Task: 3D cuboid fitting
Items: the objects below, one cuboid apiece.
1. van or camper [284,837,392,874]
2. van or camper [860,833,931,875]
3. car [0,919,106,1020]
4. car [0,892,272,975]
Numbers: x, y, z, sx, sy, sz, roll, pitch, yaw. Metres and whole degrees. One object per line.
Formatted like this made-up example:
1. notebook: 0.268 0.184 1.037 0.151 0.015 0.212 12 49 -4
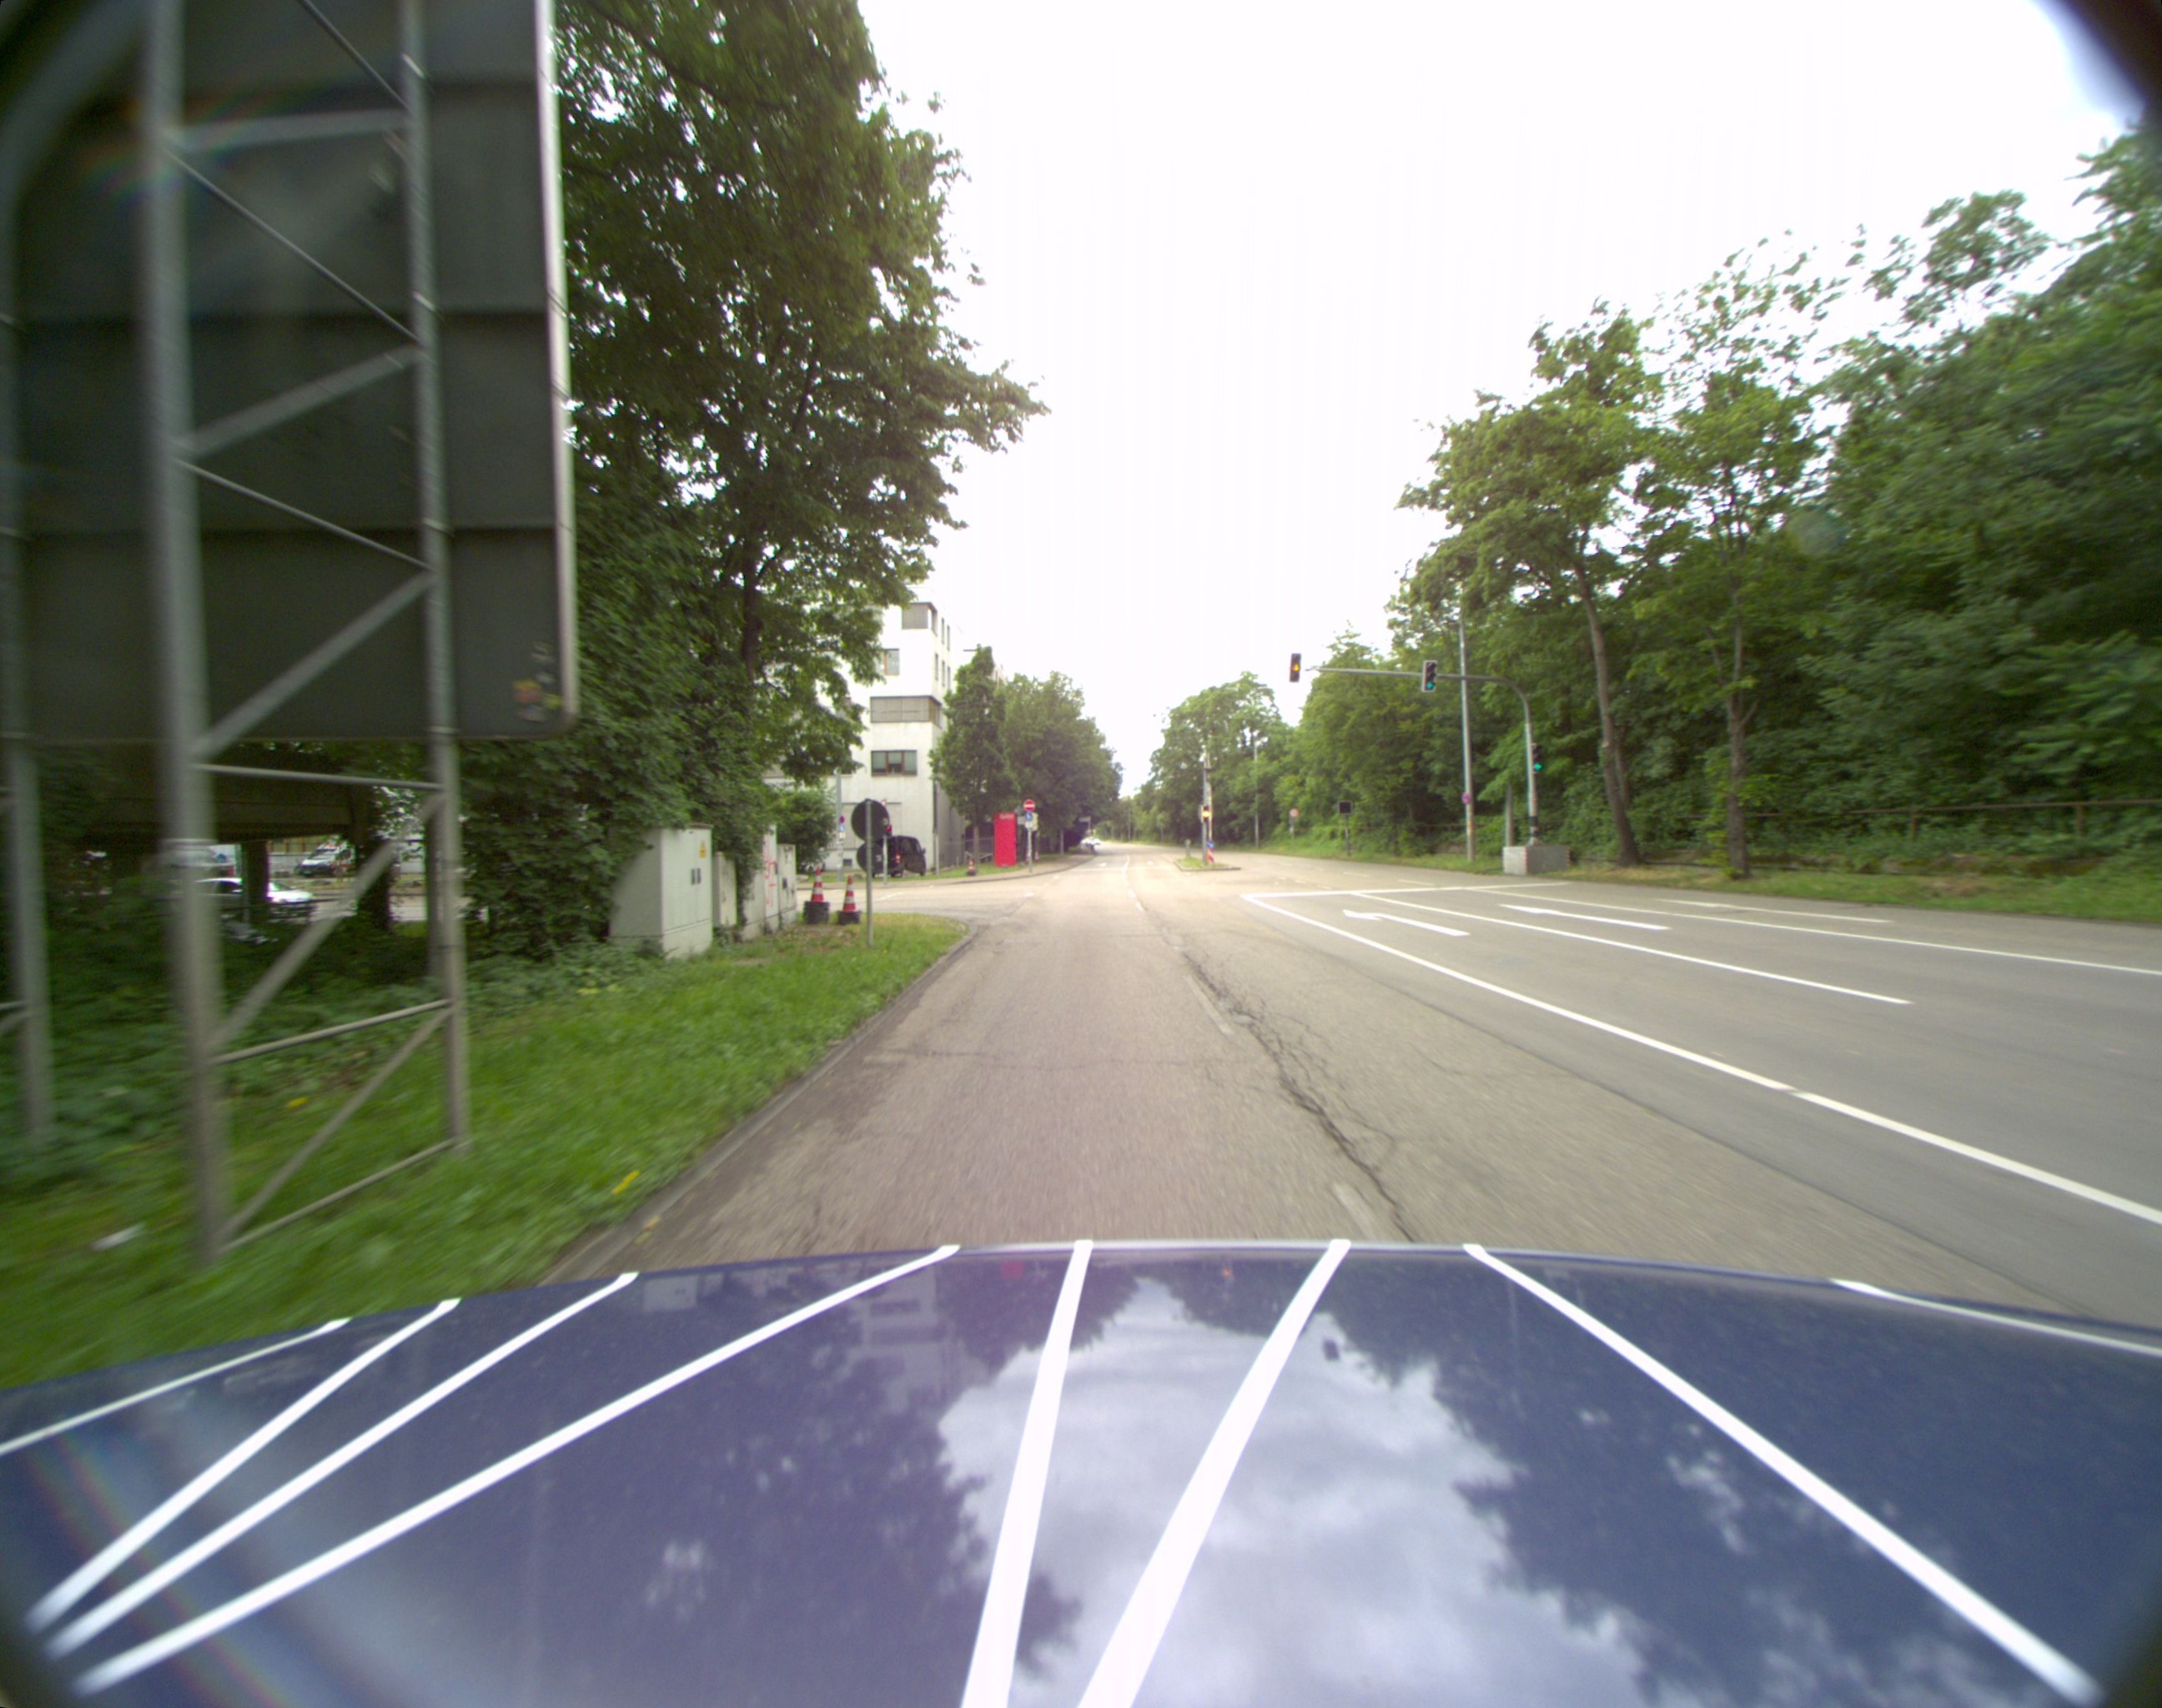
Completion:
1. van or camper: -52.130 0.012 53.515 2.256 2.412 5.268 -1 2 1
2. van or camper: -10.057 0.038 41.774 2.168 2.097 5.646 -1 -1 3
3. car: -15.169 1.516 9.671 3.636 1.155 1.622 -1 1 5
4. car: -15.184 1.219 11.988 3.251 1.081 1.538 -1 1 3
